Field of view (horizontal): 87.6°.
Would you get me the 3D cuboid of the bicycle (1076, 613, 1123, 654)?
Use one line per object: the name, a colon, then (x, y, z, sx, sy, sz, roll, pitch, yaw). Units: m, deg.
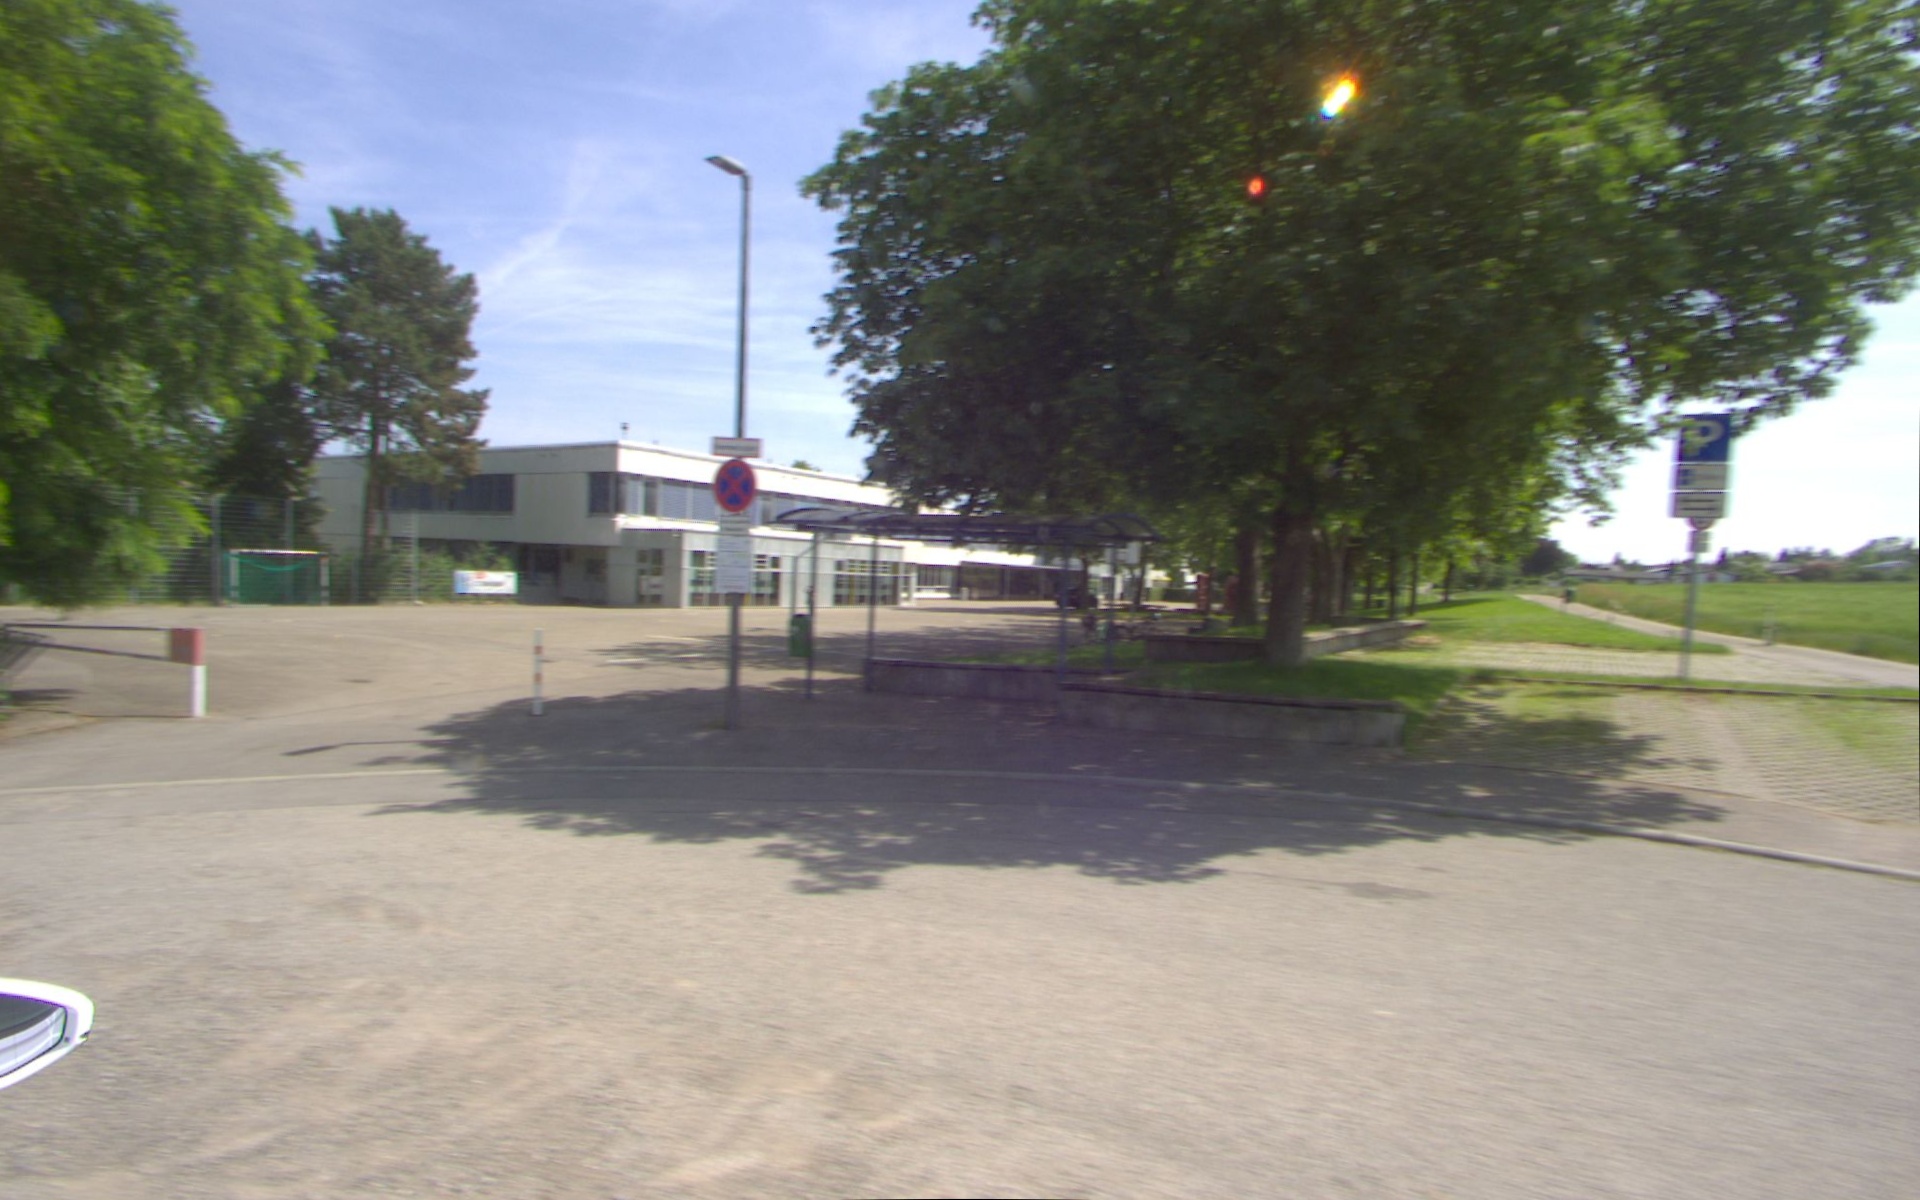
bicycle: (3.830, 0.900, 27.395, 0.587, 1.053, 1.884, 1, 1, 30)

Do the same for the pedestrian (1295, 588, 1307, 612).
pedestrian: (29.926, 0.001, 87.941, 0.819, 2.041, 0.692, 2, 1, 7)

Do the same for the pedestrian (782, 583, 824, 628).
pedestrian: (-5.280, 0.178, 33.724, 1.050, 1.442, 0.918, 2, 1, 15)

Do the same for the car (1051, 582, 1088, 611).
car: (7.438, -0.238, 67.817, 1.667, 1.859, 3.403, 2, 1, 20)

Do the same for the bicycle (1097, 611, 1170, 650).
bicycle: (5.024, 0.877, 29.023, 2.031, 1.053, 0.571, 1, 1, 15)
